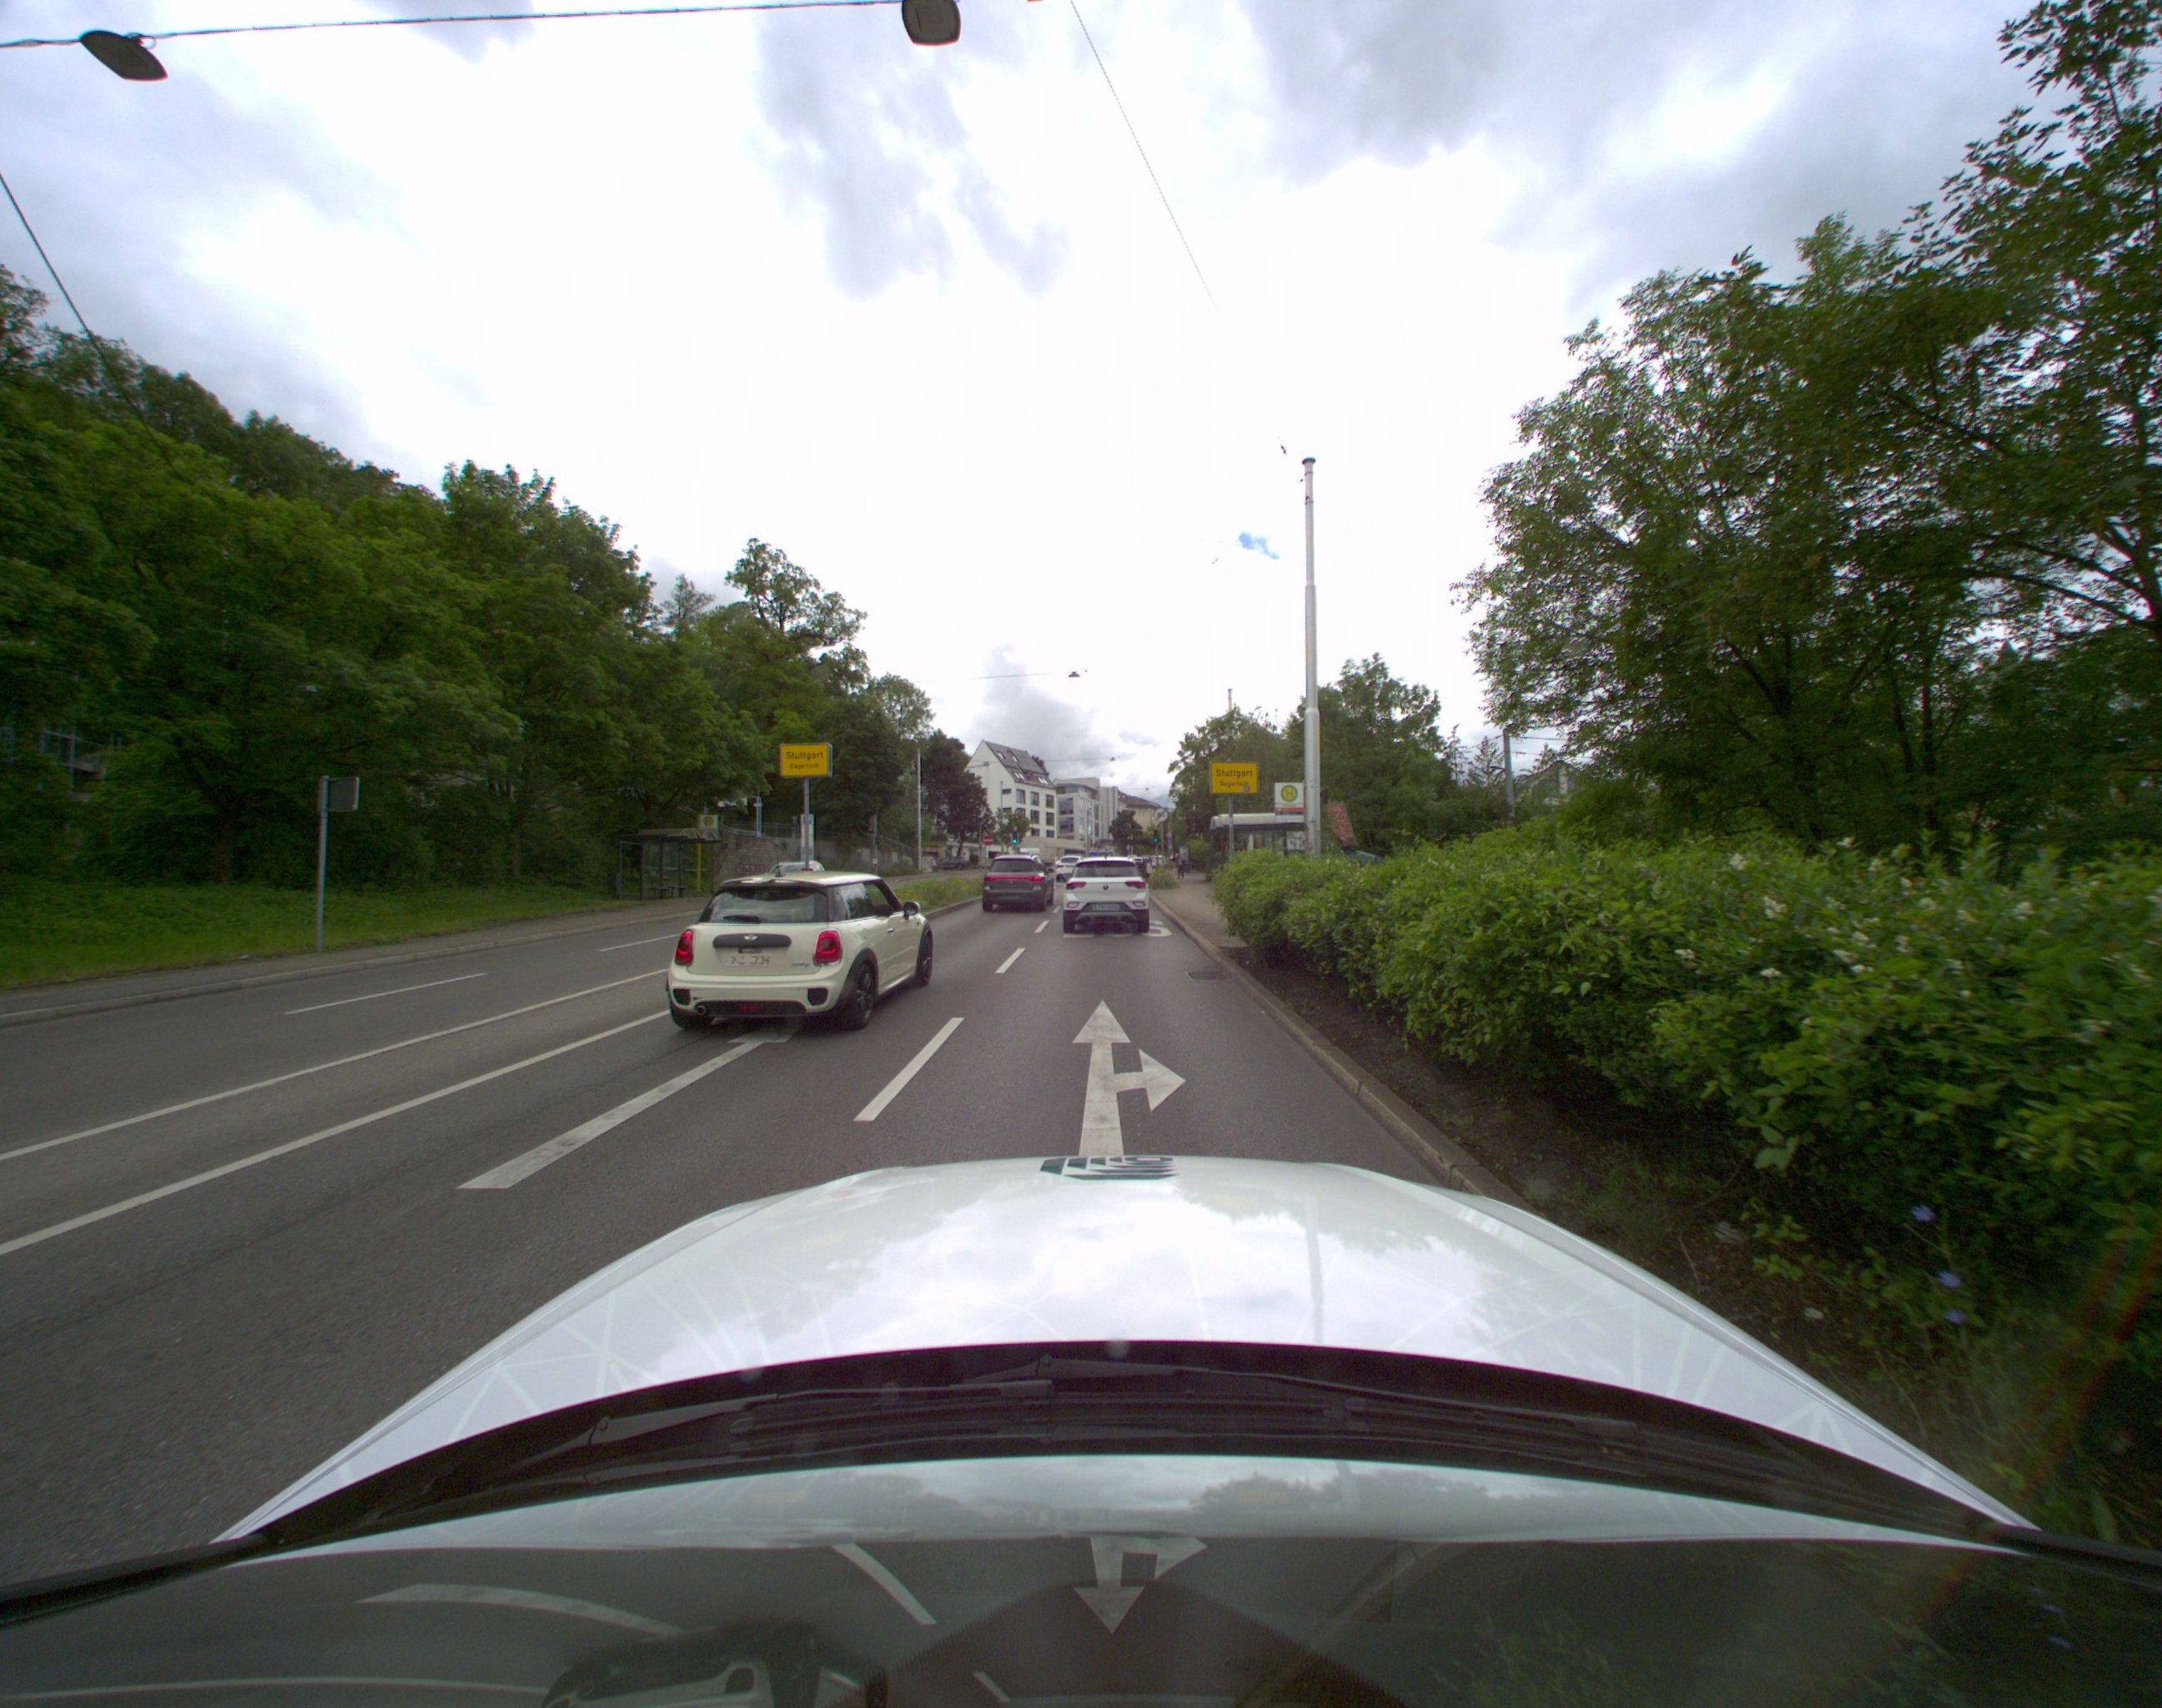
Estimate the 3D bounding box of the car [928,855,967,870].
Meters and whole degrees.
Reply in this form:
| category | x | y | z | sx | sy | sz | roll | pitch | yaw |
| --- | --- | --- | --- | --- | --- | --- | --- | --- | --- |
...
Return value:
| category | x | y | z | sx | sy | sz | roll | pitch | yaw |
| --- | --- | --- | --- | --- | --- | --- | --- | --- | --- |
| car | -14.469 | 0.883 | 88.306 | 4.123 | 1.540 | 1.592 | -1 | 0 | -13 |

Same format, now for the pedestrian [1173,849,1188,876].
| category | x | y | z | sx | sy | sz | roll | pitch | yaw |
| --- | --- | --- | --- | --- | --- | --- | --- | --- | --- |
| pedestrian | 6.351 | 0.563 | 51.948 | 0.687 | 1.689 | 0.623 | -3 | -2 | 23 |

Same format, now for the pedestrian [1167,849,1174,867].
| category | x | y | z | sx | sy | sz | roll | pitch | yaw |
| --- | --- | --- | --- | --- | --- | --- | --- | --- | --- |
| pedestrian | 9.075 | 0.448 | 82.713 | 0.689 | 1.834 | 0.621 | 0 | -1 | 9 |

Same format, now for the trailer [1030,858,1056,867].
| category | x | y | z | sx | sy | sz | roll | pitch | yaw |
| --- | --- | --- | --- | --- | --- | --- | --- | --- | --- |
| trailer | -5.377 | 1.193 | 116.810 | 2.228 | 1.112 | 4.643 | -1 | 0 | 18 |

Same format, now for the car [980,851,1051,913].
| category | x | y | z | sx | sy | sz | roll | pitch | yaw |
| --- | --- | --- | --- | --- | --- | --- | --- | --- | --- |
| car | -1.907 | 0.785 | 24.952 | 1.807 | 1.652 | 4.634 | -2 | 0 | -1 |

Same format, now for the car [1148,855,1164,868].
| category | x | y | z | sx | sy | sz | roll | pitch | yaw |
| --- | --- | --- | --- | --- | --- | --- | --- | --- | --- |
| car | 8.969 | 0.900 | 97.573 | 1.850 | 1.500 | 4.060 | -2 | 0 | 4 |

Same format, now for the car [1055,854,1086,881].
| category | x | y | z | sx | sy | sz | roll | pitch | yaw |
| --- | --- | --- | --- | --- | --- | --- | --- | --- | --- |
| car | -0.623 | 0.837 | 53.098 | 1.852 | 1.652 | 4.636 | -2 | 0 | 0 |

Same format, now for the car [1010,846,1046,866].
| category | x | y | z | sx | sy | sz | roll | pitch | yaw |
| --- | --- | --- | --- | --- | --- | --- | --- | --- | --- |
| car | -7.186 | 0.284 | 111.045 | 2.213 | 2.568 | 7.456 | -1 | 0 | 18 |

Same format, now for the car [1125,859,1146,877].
| category | x | y | z | sx | sy | sz | roll | pitch | yaw |
| --- | --- | --- | --- | --- | --- | --- | --- | --- | --- |
| car | 4.936 | 1.222 | 74.220 | 1.865 | 1.501 | 4.559 | 2 | 0 | 3 |

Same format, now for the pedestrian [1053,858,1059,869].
| category | x | y | z | sx | sy | sz | roll | pitch | yaw |
| --- | --- | --- | --- | --- | --- | --- | --- | --- | --- |
| pedestrian | -3.777 | 1.457 | 121.796 | 0.678 | 1.640 | 0.665 | 1 | 0 | -31 |

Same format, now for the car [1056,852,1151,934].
| category | x | y | z | sx | sy | sz | roll | pitch | yaw |
| --- | --- | --- | --- | --- | --- | --- | --- | --- | --- |
| car | 0.452 | 0.771 | 17.746 | 1.805 | 1.539 | 3.689 | -2 | 0 | 0 |

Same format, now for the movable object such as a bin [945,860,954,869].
| category | x | y | z | sx | sy | sz | roll | pitch | yaw |
| --- | --- | --- | --- | --- | --- | --- | --- | --- | --- |
| movable object such as a bin | -15.415 | 1.216 | 95.520 | 0.633 | 1.012 | 0.735 | 0 | -1 | 38 |

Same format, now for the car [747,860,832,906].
| category | x | y | z | sx | sy | sz | roll | pitch | yaw |
| --- | --- | --- | --- | --- | --- | --- | --- | --- | --- |
| car | -10.608 | 1.022 | 29.937 | 1.724 | 1.541 | 4.041 | 0 | 0 | -1 |

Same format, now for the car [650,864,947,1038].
| category | x | y | z | sx | sy | sz | roll | pitch | yaw |
| --- | --- | --- | --- | --- | --- | --- | --- | --- | --- |
| car | -2.689 | 0.843 | 8.640 | 1.620 | 1.393 | 3.571 | -2 | 0 | 5 |

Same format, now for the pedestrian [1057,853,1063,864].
| category | x | y | z | sx | sy | sz | roll | pitch | yaw |
| --- | --- | --- | --- | --- | --- | --- | --- | --- | --- |
| pedestrian | -3.147 | 0.750 | 124.673 | 0.678 | 1.640 | 0.665 | 1 | 0 | -31 |

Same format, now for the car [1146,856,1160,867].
| category | x | y | z | sx | sy | sz | roll | pitch | yaw |
| --- | --- | --- | --- | --- | --- | --- | --- | --- | --- |
| car | 10.155 | 1.027 | 115.165 | 1.849 | 1.500 | 4.062 | -2 | 0 | 6 |

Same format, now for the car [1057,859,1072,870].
| category | x | y | z | sx | sy | sz | roll | pitch | yaw |
| --- | --- | --- | --- | --- | --- | --- | --- | --- | --- |
| car | -2.158 | 1.325 | 107.442 | 1.711 | 1.393 | 4.610 | -1 | 0 | 1 |

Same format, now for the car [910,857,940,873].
| category | x | y | z | sx | sy | sz | roll | pitch | yaw |
| --- | --- | --- | --- | --- | --- | --- | --- | --- | --- |
| car | -16.021 | 1.147 | 83.684 | 2.712 | 1.520 | 1.553 | 2 | -2 | -22 |

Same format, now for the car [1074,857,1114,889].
| category | x | y | z | sx | sy | sz | roll | pitch | yaw |
| --- | --- | --- | --- | --- | --- | --- | --- | --- | --- |
| car | 0.633 | 0.947 | 42.953 | 1.868 | 1.501 | 4.551 | 2 | 0 | -2 |
